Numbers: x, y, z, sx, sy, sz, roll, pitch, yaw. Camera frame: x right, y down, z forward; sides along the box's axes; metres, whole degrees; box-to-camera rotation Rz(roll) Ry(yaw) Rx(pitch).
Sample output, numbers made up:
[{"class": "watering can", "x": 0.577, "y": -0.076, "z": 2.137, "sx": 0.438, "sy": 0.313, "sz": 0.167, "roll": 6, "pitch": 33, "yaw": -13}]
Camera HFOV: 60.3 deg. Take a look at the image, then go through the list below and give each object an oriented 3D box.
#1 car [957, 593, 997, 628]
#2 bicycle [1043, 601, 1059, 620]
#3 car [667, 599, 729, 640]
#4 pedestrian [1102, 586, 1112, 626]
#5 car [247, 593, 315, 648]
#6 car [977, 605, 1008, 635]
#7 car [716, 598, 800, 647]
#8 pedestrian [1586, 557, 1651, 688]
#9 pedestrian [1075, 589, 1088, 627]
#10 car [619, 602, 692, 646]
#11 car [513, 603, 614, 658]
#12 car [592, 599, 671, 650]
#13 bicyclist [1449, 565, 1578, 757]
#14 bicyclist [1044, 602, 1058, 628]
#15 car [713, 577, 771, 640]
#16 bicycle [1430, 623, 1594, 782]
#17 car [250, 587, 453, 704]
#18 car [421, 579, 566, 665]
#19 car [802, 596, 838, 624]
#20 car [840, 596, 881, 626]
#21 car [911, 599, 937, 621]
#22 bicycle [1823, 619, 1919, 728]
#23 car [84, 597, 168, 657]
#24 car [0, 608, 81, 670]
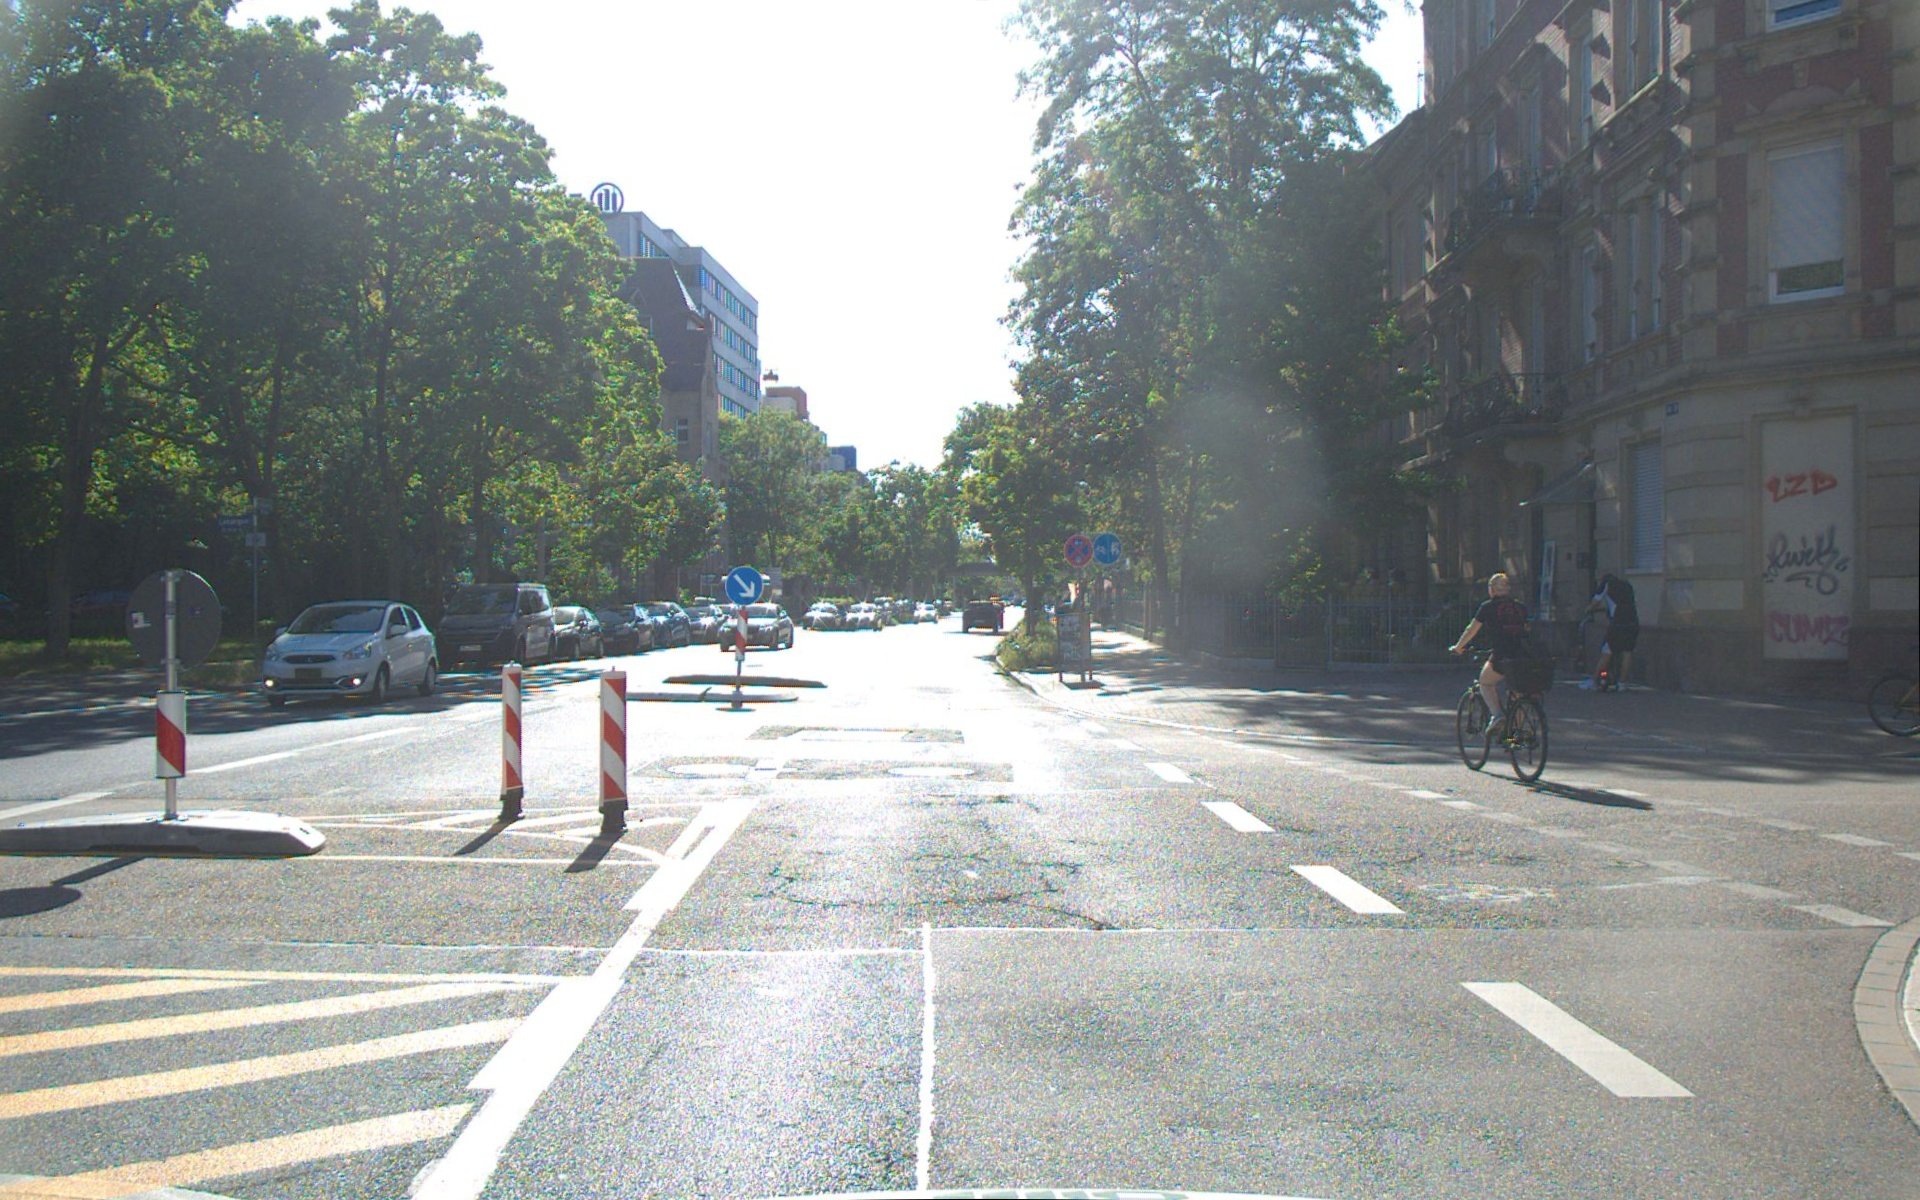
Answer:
[{"class": "car", "x": 0.821, "y": 0.499, "z": 82.774, "sx": 1.856, "sy": 1.545, "sz": 3.999, "roll": 2, "pitch": 1, "yaw": -1}, {"class": "bicycle", "x": 4.813, "y": 0.561, "z": 87.561, "sx": 0.661, "sy": 0.954, "sz": 2.280, "roll": 0, "pitch": -1, "yaw": -2}, {"class": "car", "x": -9.738, "y": 0.701, "z": 61.633, "sx": 1.491, "sy": 1.457, "sz": 3.339, "roll": 0, "pitch": 0, "yaw": 5}, {"class": "pedestrian", "x": 7.779, "y": 0.326, "z": 87.402, "sx": 0.466, "sy": 2.049, "sz": 0.492, "roll": 1, "pitch": -3, "yaw": -2}, {"class": "car", "x": -21.914, "y": 0.633, "z": 53.432, "sx": 1.948, "sy": 1.691, "sz": 3.973, "roll": 0, "pitch": 0, "yaw": -22}, {"class": "car", "x": 1.979, "y": 1.195, "z": 100.024, "sx": 1.781, "sy": 1.770, "sz": 4.001, "roll": 0, "pitch": 0, "yaw": 2}, {"class": "car", "x": -6.389, "y": 0.725, "z": 52.742, "sx": 1.746, "sy": 1.486, "sz": 4.417, "roll": 1, "pitch": -1, "yaw": 5}, {"class": "pedestrian", "x": 9.455, "y": 0.335, "z": 23.772, "sx": 0.642, "sy": 1.848, "sz": 0.751, "roll": 1, "pitch": -3, "yaw": 3}, {"class": "pedestrian", "x": 6.522, "y": 0.436, "z": 88.742, "sx": 0.602, "sy": 2.049, "sz": 0.680, "roll": 0, "pitch": 0, "yaw": -2}, {"class": "car", "x": -10.377, "y": 0.790, "z": 56.575, "sx": 1.491, "sy": 1.457, "sz": 3.556, "roll": 0, "pitch": 0, "yaw": 7}, {"class": "car", "x": -10.922, "y": 0.877, "z": 45.804, "sx": 1.678, "sy": 1.377, "sz": 4.000, "roll": 1, "pitch": -3, "yaw": 2}, {"class": "car", "x": -10.124, "y": 0.777, "z": 51.186, "sx": 1.491, "sy": 1.458, "sz": 3.338, "roll": 1, "pitch": -3, "yaw": 5}, {"class": "bicyclist", "x": 4.825, "y": 0.501, "z": 14.486, "sx": 0.726, "sy": 1.607, "sz": 1.100, "roll": 1, "pitch": 1, "yaw": -1}, {"class": "bicyclist", "x": 4.814, "y": 0.780, "z": 87.611, "sx": 0.666, "sy": 1.351, "sz": 0.636, "roll": 1, "pitch": -3, "yaw": -2}, {"class": "car", "x": -9.649, "y": 0.333, "z": 73.441, "sx": 1.789, "sy": 2.697, "sz": 5.162, "roll": 0, "pitch": 1, "yaw": 1}, {"class": "bicycle", "x": 4.808, "y": 0.857, "z": 14.548, "sx": 0.726, "sy": 1.240, "sz": 1.959, "roll": -2, "pitch": 0, "yaw": -1}, {"class": "car", "x": -9.036, "y": 0.617, "z": 24.890, "sx": 1.723, "sy": 1.545, "sz": 3.858, "roll": -1, "pitch": 1, "yaw": -2}, {"class": "car", "x": -11.328, "y": 0.495, "z": 40.540, "sx": 2.153, "sy": 1.963, "sz": 4.862, "roll": 0, "pitch": 0, "yaw": 0}, {"class": "car", "x": -7.981, "y": 0.560, "z": 94.440, "sx": 1.765, "sy": 1.530, "sz": 3.807, "roll": 0, "pitch": 0, "yaw": -1}, {"class": "car", "x": -5.268, "y": 0.570, "z": 87.650, "sx": 1.604, "sy": 1.545, "sz": 4.033, "roll": 0, "pitch": 0, "yaw": 5}, {"class": "car", "x": -2.706, "y": 0.774, "z": 125.312, "sx": 1.895, "sy": 1.546, "sz": 4.028, "roll": 1, "pitch": -3, "yaw": -1}, {"class": "bicycle", "x": 10.192, "y": 0.766, "z": 17.330, "sx": 1.938, "sy": 1.114, "sz": 0.690, "roll": 0, "pitch": 0, "yaw": 45}, {"class": "car", "x": -25.214, "y": 0.781, "z": 49.936, "sx": 1.956, "sy": 1.691, "sz": 3.956, "roll": -1, "pitch": 1, "yaw": -32}, {"class": "car", "x": -27.256, "y": 1.101, "z": 48.830, "sx": 1.957, "sy": 1.691, "sz": 3.954, "roll": -1, "pitch": 1, "yaw": -33}]
